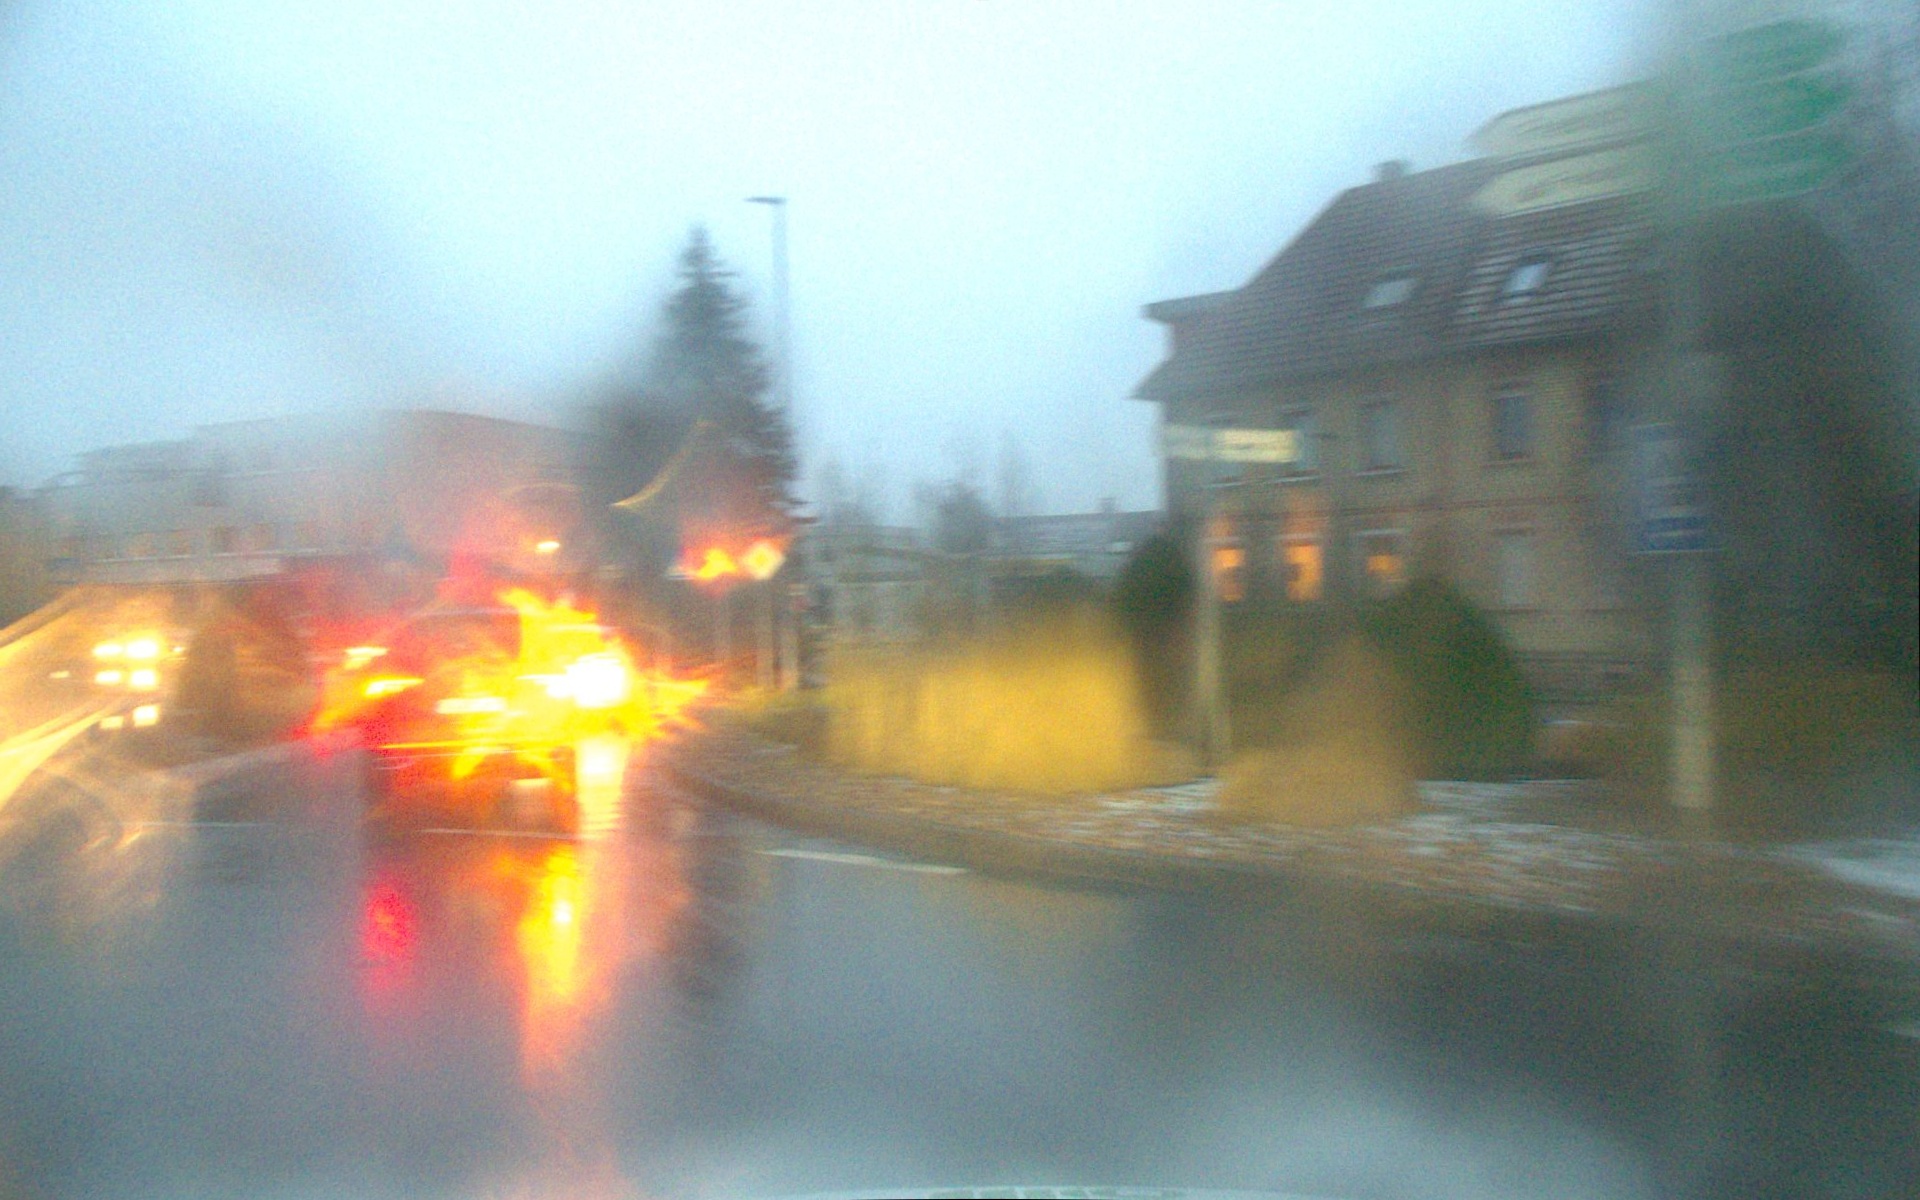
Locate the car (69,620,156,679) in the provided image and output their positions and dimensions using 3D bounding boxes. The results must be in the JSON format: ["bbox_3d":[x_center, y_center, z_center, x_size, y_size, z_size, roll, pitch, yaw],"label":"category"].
[{"bbox_3d":[-32.650,1.852,63.664,2.148,2.096,4.509,-1,1,-38],"label":"car"}]

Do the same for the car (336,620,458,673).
[{"bbox_3d":[-18.910,1.569,55.431,4.488,1.575,1.878,-4,-2,41],"label":"car"}]

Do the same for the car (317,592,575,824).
[{"bbox_3d":[-4.607,0.837,14.979,1.914,1.748,3.981,-1,0,-17],"label":"car"}]

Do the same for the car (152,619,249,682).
[{"bbox_3d":[-27.599,1.789,60.022,2.150,2.096,4.506,-1,1,-39],"label":"car"}]

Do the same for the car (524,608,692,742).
[{"bbox_3d":[-5.449,1.095,26.197,2.122,1.718,4.565,-2,2,-7],"label":"car"}]
